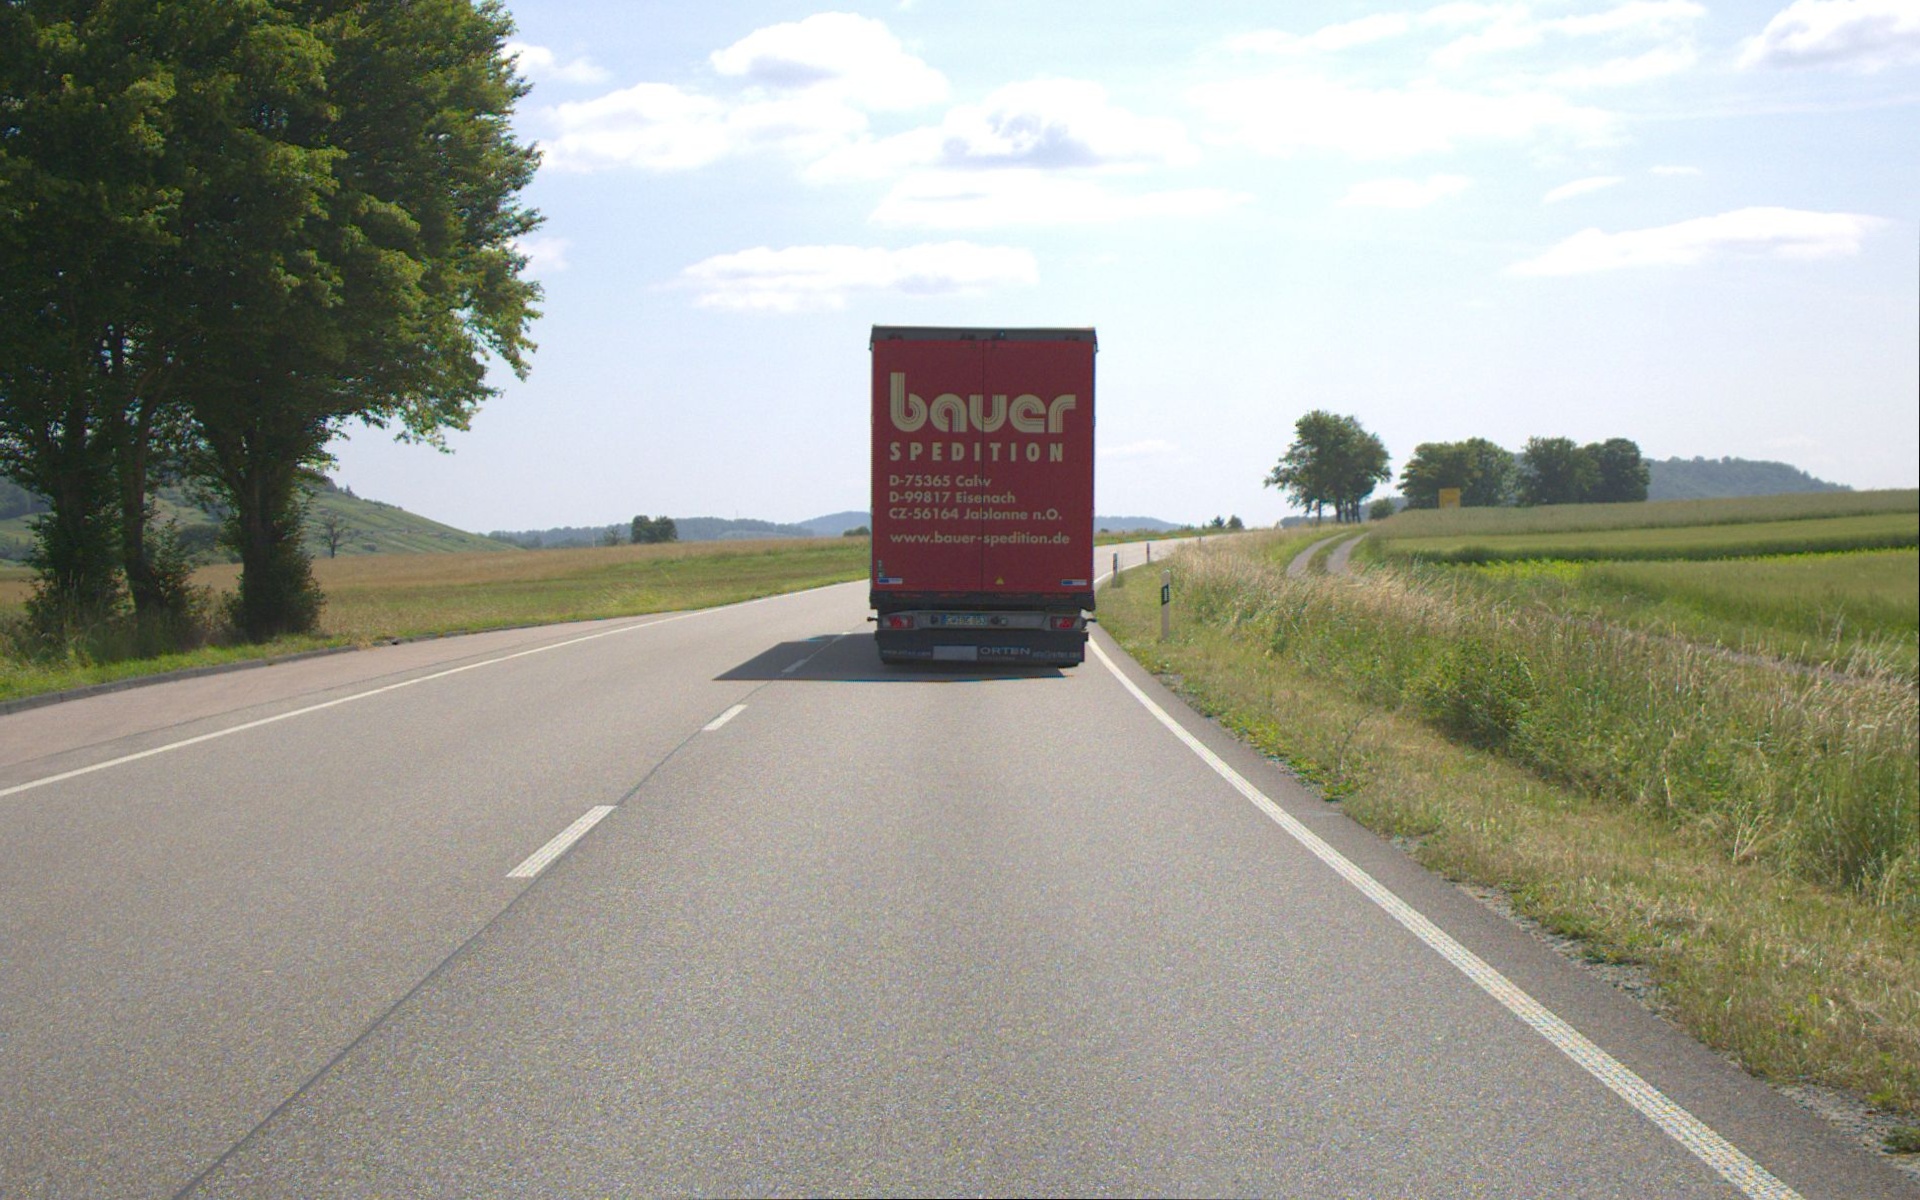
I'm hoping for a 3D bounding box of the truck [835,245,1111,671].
[{"bbox_3d":[0.021,-1.642,43.144,2.975,4.697,9.367,1,1,-2],"label":"truck"}]
